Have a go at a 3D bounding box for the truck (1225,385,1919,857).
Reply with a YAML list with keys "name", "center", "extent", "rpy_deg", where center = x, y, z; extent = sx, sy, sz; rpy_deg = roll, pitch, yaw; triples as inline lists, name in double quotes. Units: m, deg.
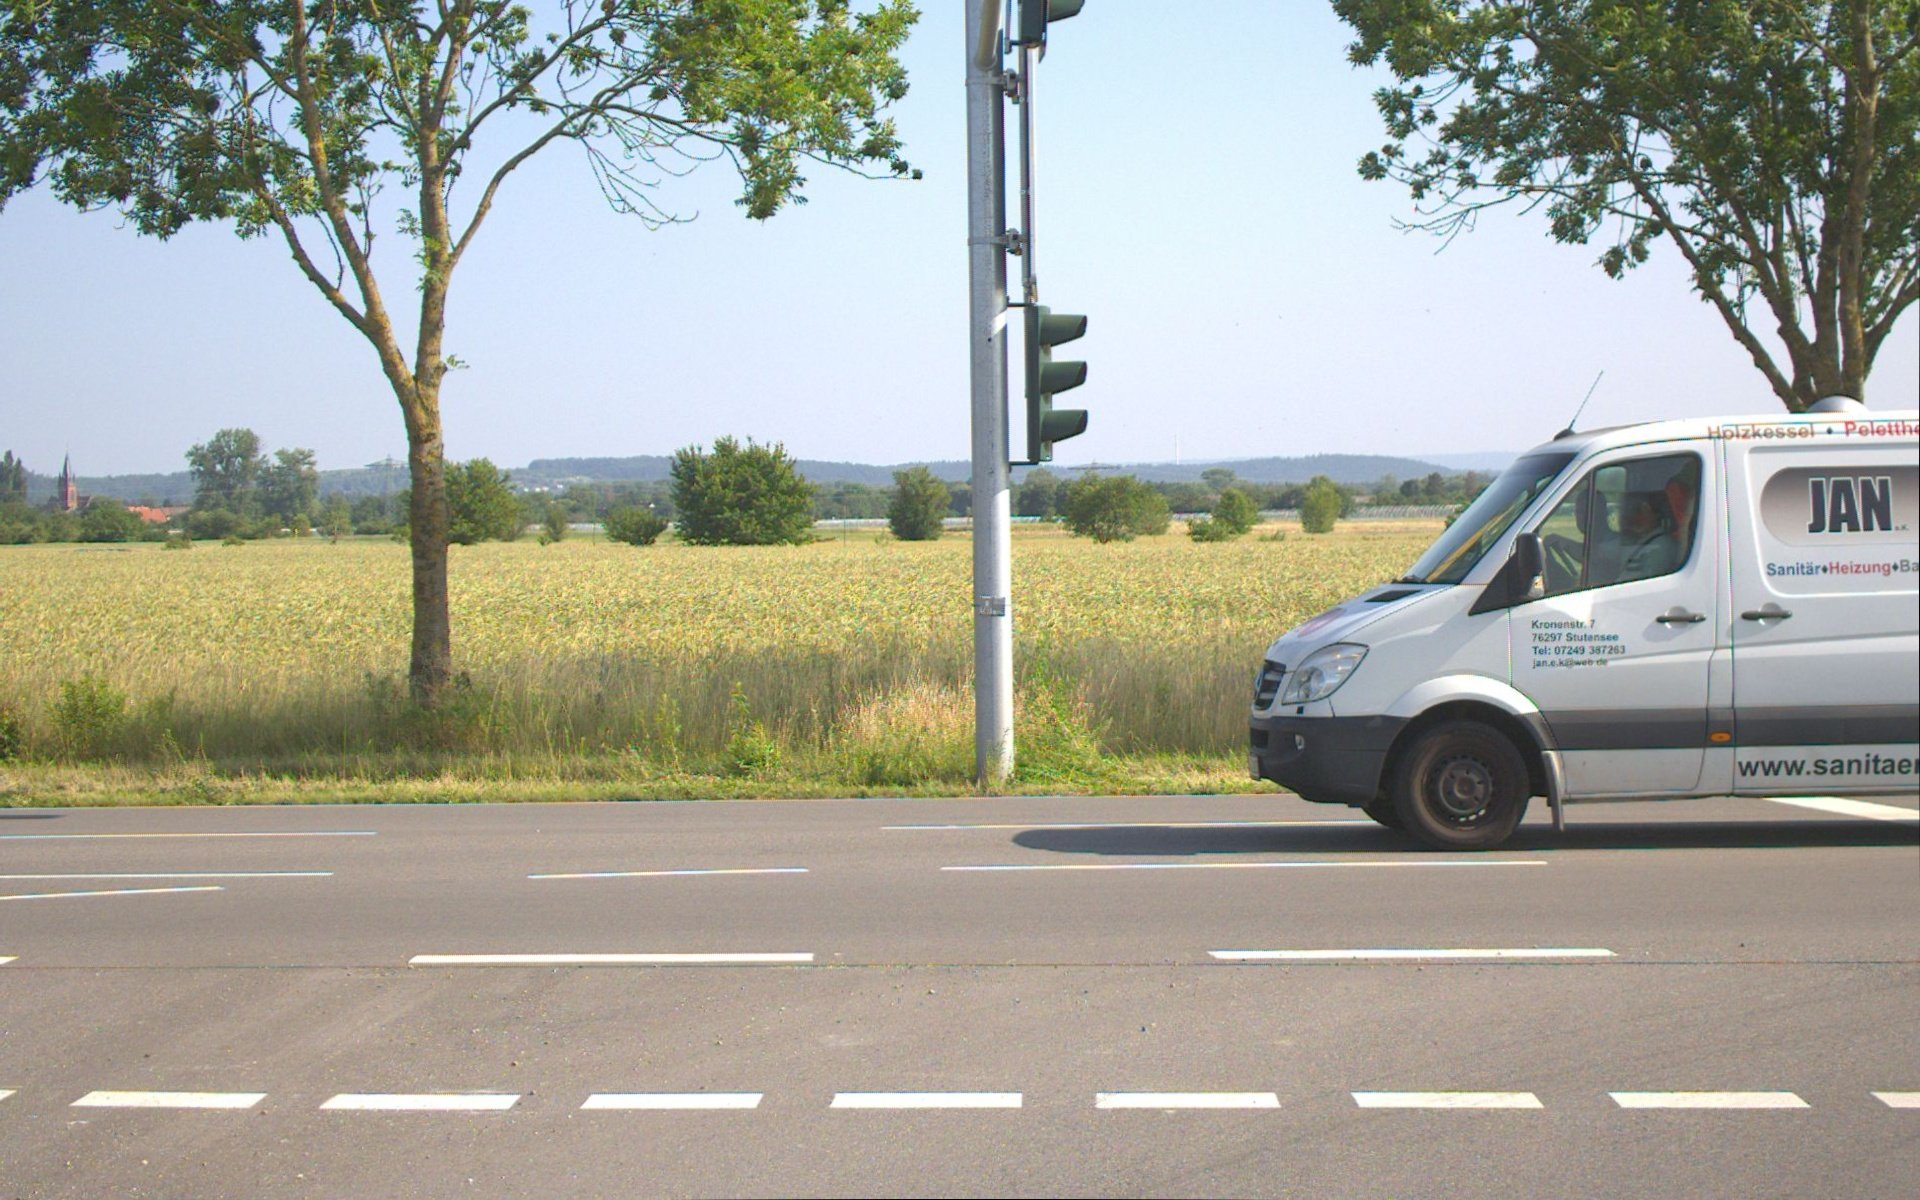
- name: "truck"
  center: [4.635, 0.089, 18.762]
  extent: [6.178, 2.396, 2.071]
  rpy_deg: [-1, 0, -1]
